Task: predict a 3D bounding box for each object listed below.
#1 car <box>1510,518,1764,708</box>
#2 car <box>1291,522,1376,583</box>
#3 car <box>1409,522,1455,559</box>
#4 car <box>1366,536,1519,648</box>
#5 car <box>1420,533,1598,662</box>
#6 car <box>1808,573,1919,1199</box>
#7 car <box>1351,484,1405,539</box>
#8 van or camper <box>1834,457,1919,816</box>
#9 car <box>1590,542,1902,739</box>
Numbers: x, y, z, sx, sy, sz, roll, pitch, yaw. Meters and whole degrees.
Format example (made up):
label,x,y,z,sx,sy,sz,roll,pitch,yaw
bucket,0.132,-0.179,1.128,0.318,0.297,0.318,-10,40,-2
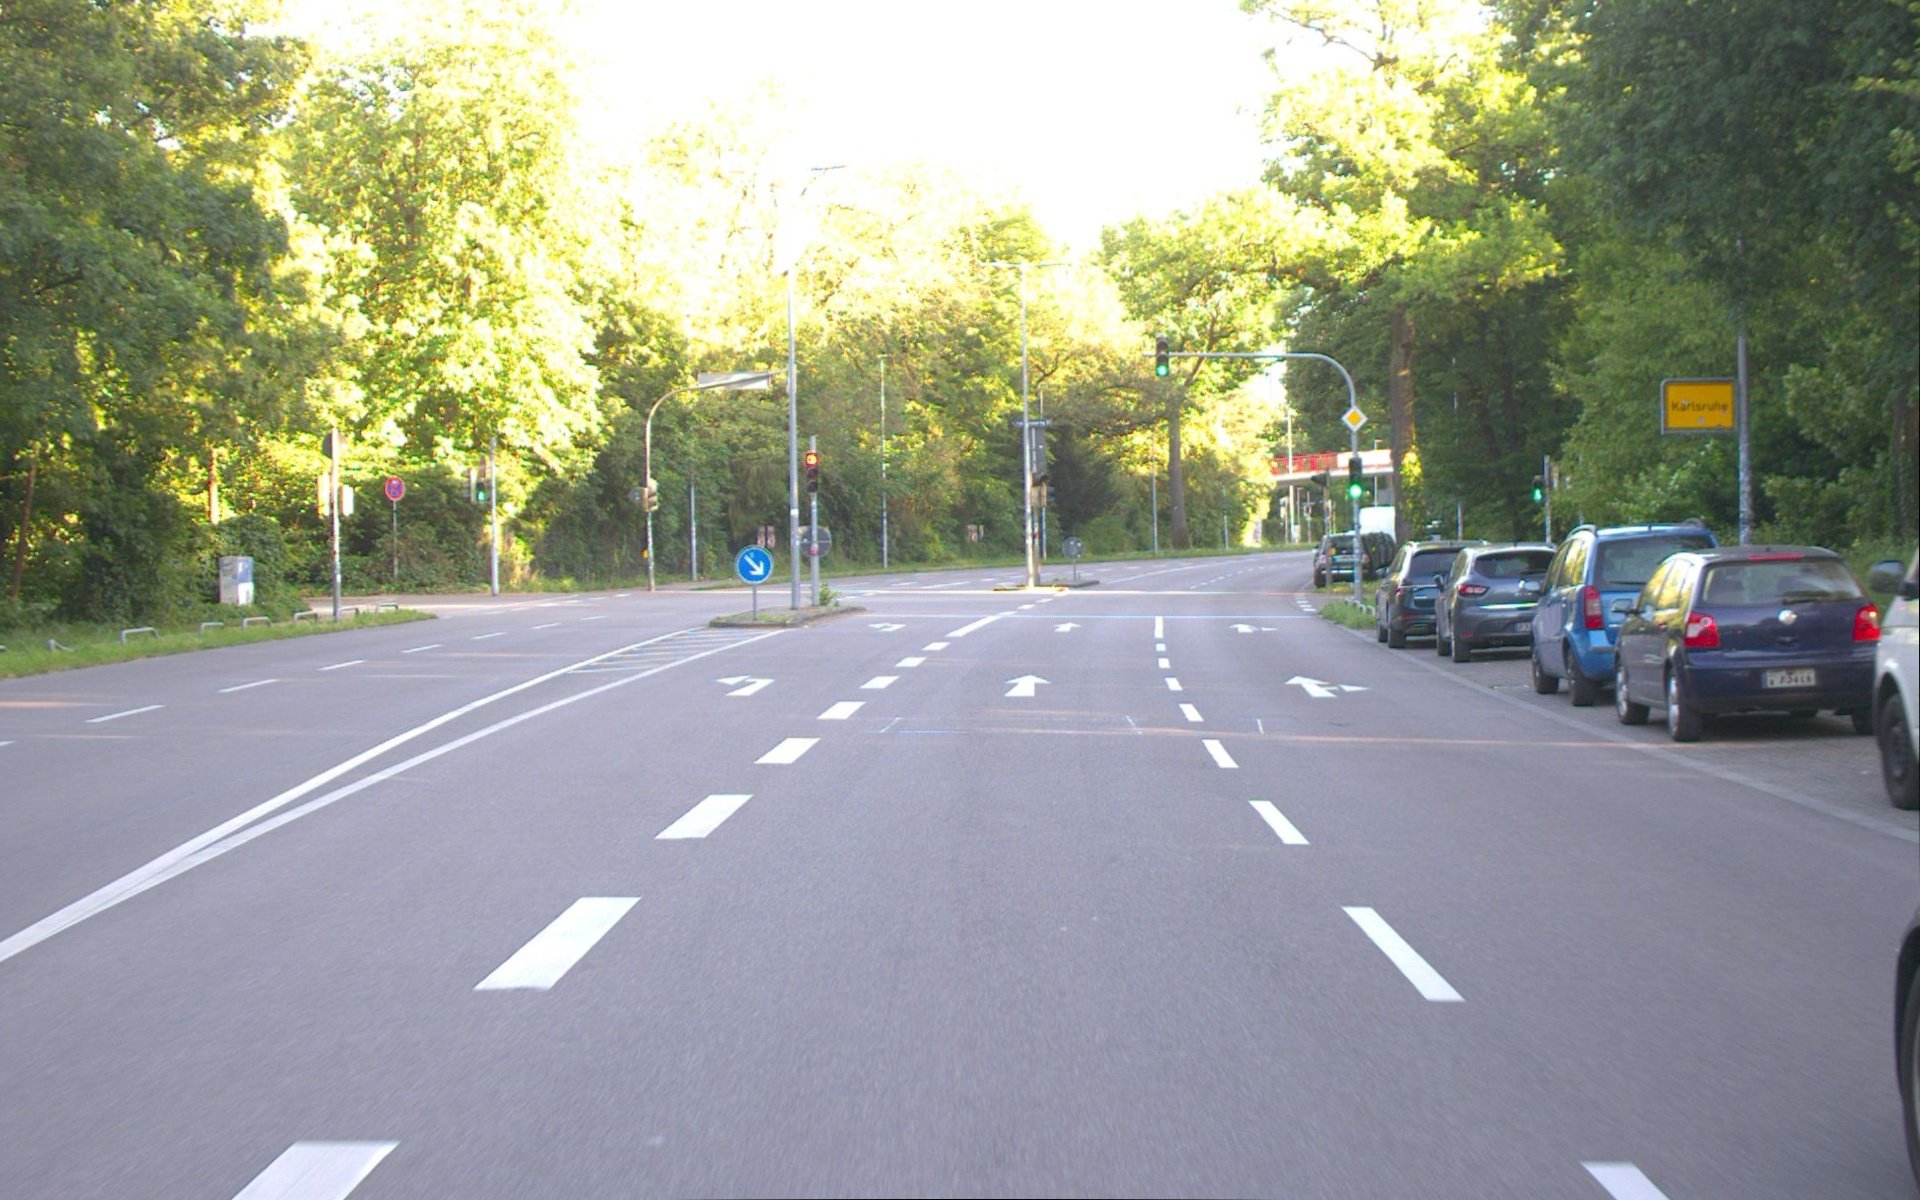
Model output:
label,x,y,z,sx,sy,sz,roll,pitch,yaw
car,6.442,0.078,33.113,1.728,1.698,4.090,-1,1,2
car,10.441,-1.355,96.412,1.993,1.612,4.000,-2,1,2
car,24.265,-3.055,176.820,1.994,1.897,4.000,0,1,4
car,6.860,-0.150,49.215,1.728,1.456,4.167,-2,1,3
car,6.925,-0.066,43.712,1.728,1.485,4.090,-2,1,3
car,2.955,0.693,6.362,1.727,1.436,4.090,0,1,0
car,18.367,-3.879,151.243,2.308,2.328,4.558,0,1,7
van or camper,6.173,0.217,18.004,1.832,1.963,5.342,0,1,0
car,6.211,0.269,27.587,1.650,1.436,4.113,-1,1,2
